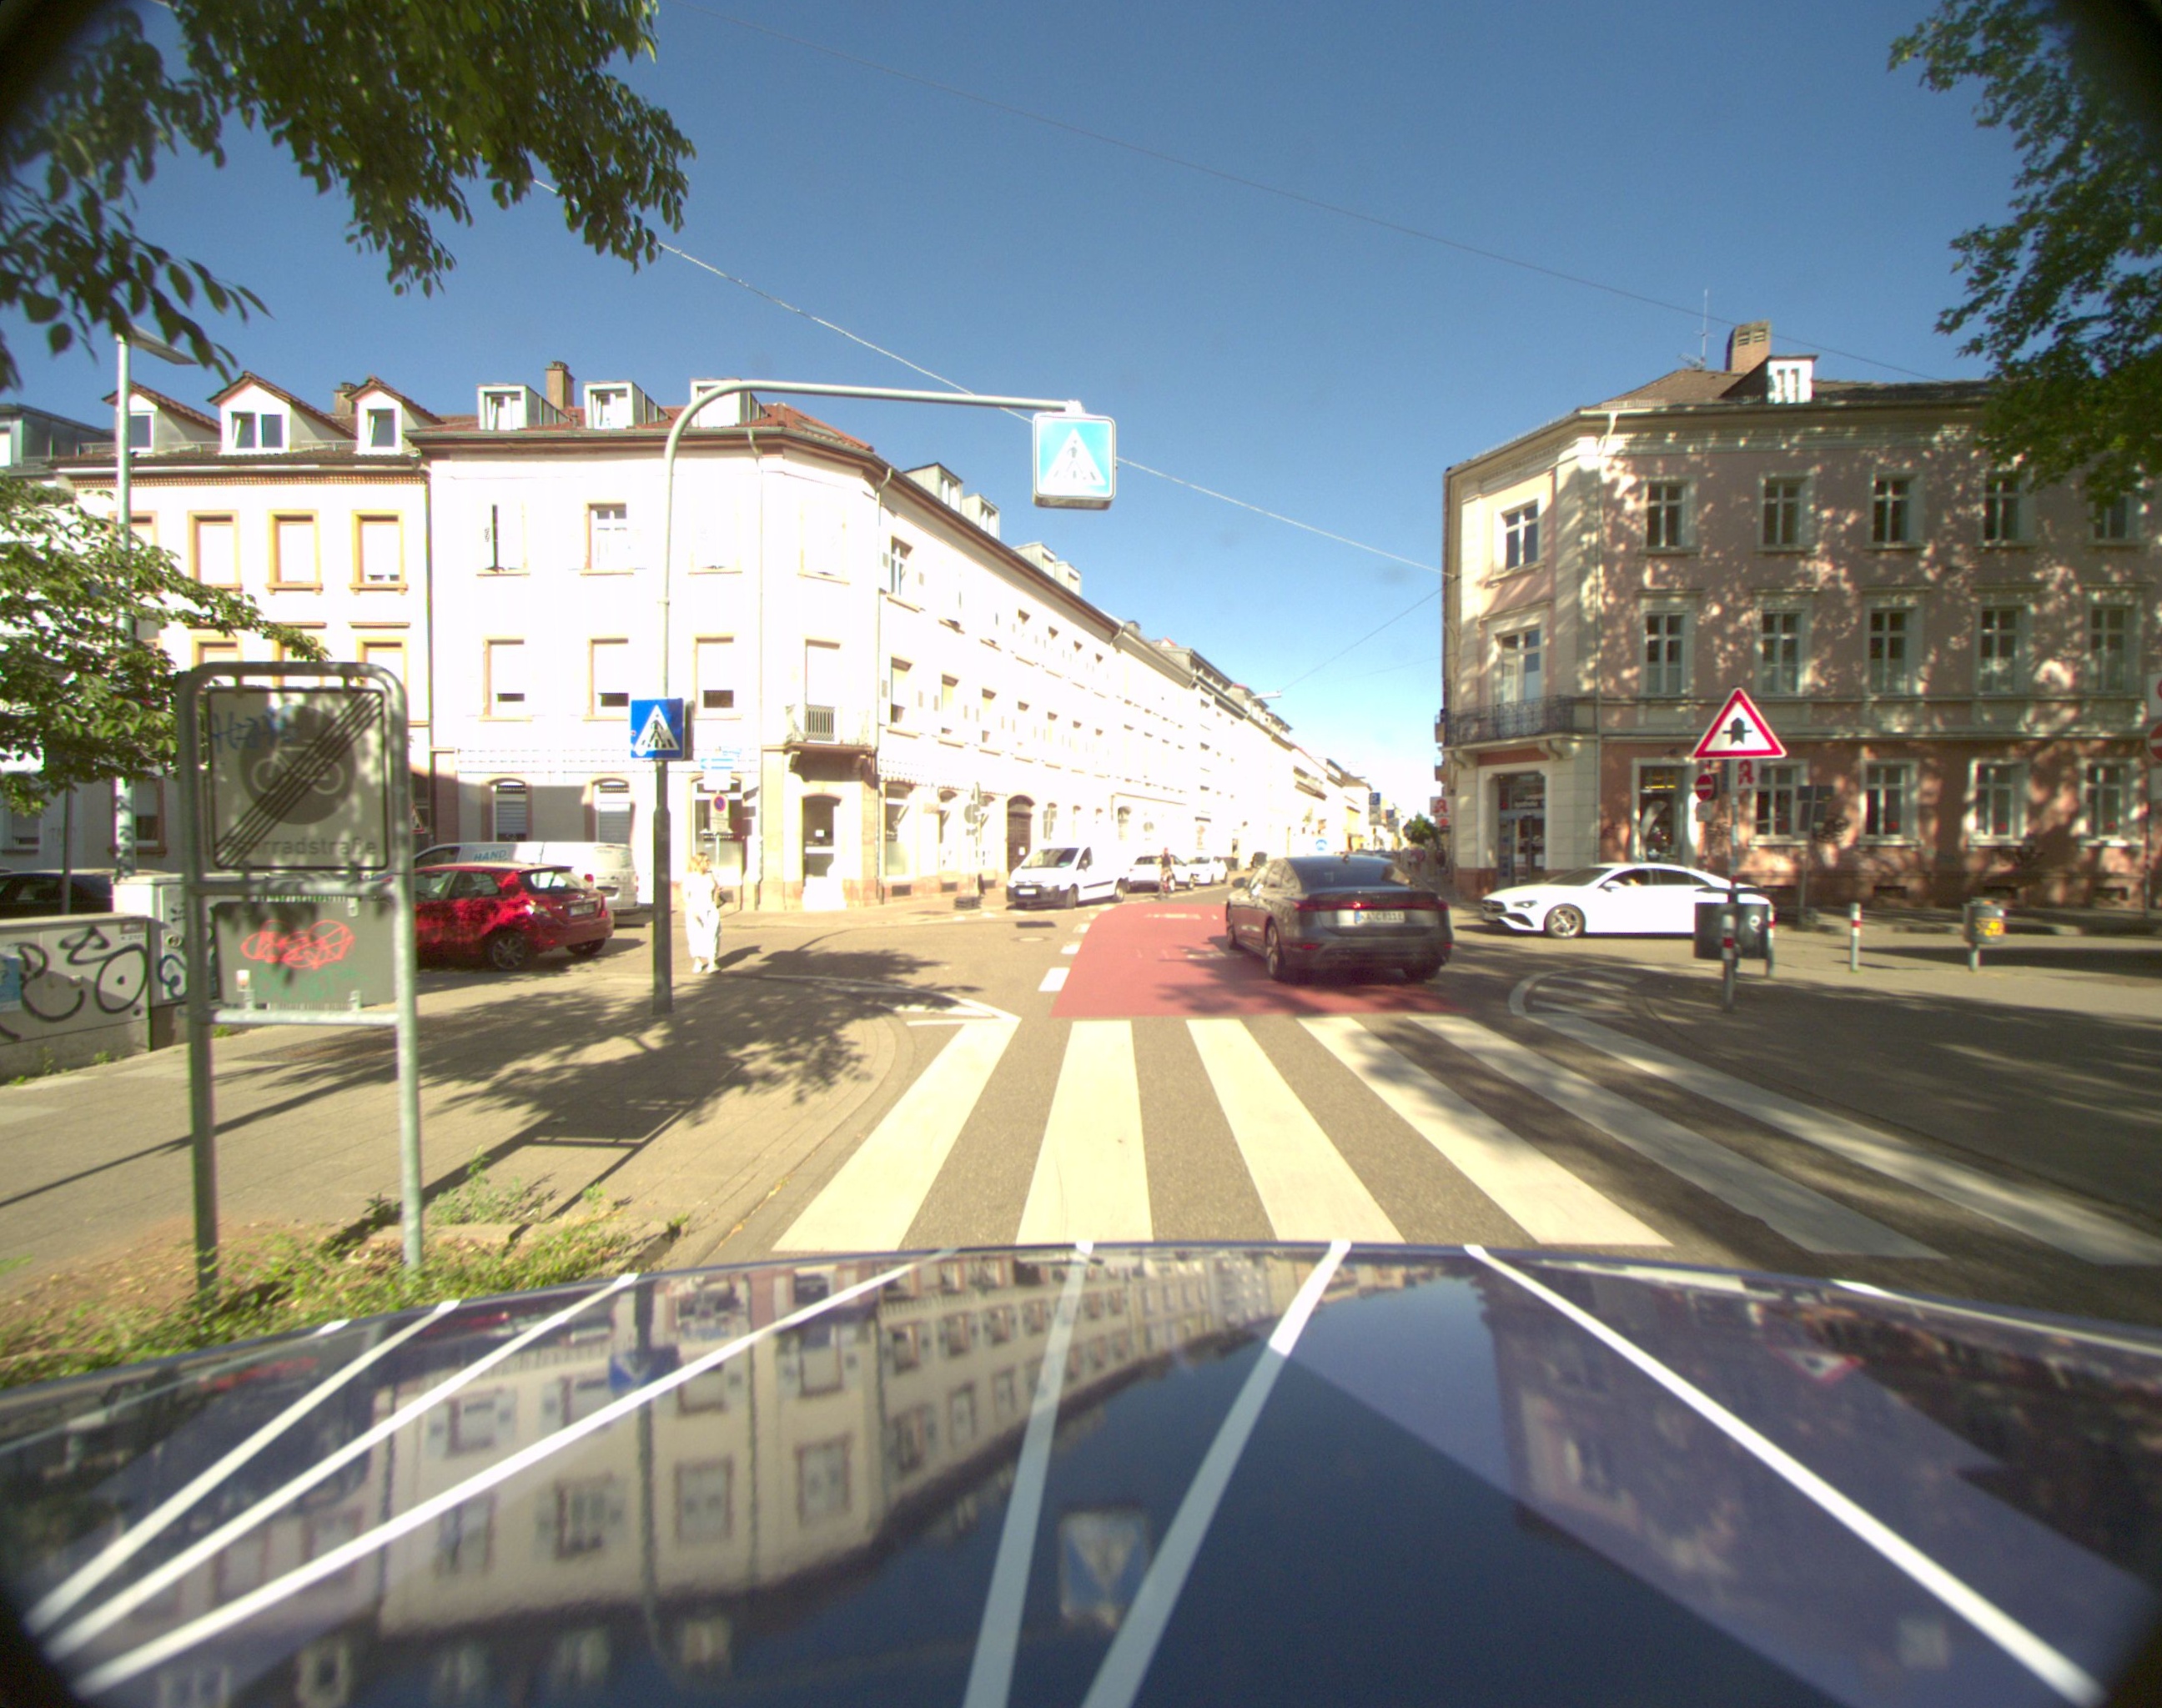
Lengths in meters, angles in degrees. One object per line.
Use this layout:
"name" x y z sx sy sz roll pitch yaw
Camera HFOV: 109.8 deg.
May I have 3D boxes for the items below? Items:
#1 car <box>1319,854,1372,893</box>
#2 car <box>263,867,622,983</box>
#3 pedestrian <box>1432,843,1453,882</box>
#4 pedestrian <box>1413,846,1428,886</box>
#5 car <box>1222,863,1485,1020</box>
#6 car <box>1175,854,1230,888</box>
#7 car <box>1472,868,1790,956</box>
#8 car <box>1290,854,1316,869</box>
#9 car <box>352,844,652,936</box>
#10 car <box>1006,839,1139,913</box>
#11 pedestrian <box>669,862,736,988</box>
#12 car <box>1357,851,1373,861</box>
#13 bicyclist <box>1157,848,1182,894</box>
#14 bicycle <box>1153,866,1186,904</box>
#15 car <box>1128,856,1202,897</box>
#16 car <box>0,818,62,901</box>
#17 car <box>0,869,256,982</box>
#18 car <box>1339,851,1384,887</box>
"car" 11.449 0.800 32.730 1.702 1.426 3.645 3 3 25
"car" -9.131 0.972 11.102 3.803 1.492 1.690 0 2 1
"pedestrian" 16.757 0.377 35.212 0.828 1.755 0.753 1 3 25
"pedestrian" 15.898 0.558 35.590 0.569 1.846 0.708 2 2 22
"car" 3.211 0.925 10.064 1.914 1.445 4.577 2 1 2
"car" 5.885 0.797 36.441 1.628 1.532 3.645 -1 0 25
"car" 10.128 1.033 14.300 4.558 1.448 1.864 1 0 3
"car" 19.813 0.632 67.780 1.703 1.292 3.645 1 1 25
"car" -12.352 0.761 16.446 5.010 1.848 1.901 0 -2 1
"car" -0.096 0.566 22.416 2.046 1.934 5.034 0 0 23
"pedestrian" -5.115 0.923 10.314 0.736 1.605 0.814 -1 1 -23
"car" 39.821 0.238 106.536 1.703 1.292 3.645 1 1 25
"bicyclist" 3.012 0.570 25.758 0.637 1.538 1.026 0 1 20
"bicycle" 3.007 1.031 25.720 0.671 1.192 1.928 0 1 20
"car" 3.498 0.853 30.845 1.642 1.532 4.390 -1 0 25
"car" -26.044 0.122 17.036 3.990 1.848 1.901 0 0 3
"car" -15.173 0.999 11.338 4.075 1.491 1.659 0 0 3
"car" 13.702 0.689 37.036 1.702 1.529 3.645 3 3 25
